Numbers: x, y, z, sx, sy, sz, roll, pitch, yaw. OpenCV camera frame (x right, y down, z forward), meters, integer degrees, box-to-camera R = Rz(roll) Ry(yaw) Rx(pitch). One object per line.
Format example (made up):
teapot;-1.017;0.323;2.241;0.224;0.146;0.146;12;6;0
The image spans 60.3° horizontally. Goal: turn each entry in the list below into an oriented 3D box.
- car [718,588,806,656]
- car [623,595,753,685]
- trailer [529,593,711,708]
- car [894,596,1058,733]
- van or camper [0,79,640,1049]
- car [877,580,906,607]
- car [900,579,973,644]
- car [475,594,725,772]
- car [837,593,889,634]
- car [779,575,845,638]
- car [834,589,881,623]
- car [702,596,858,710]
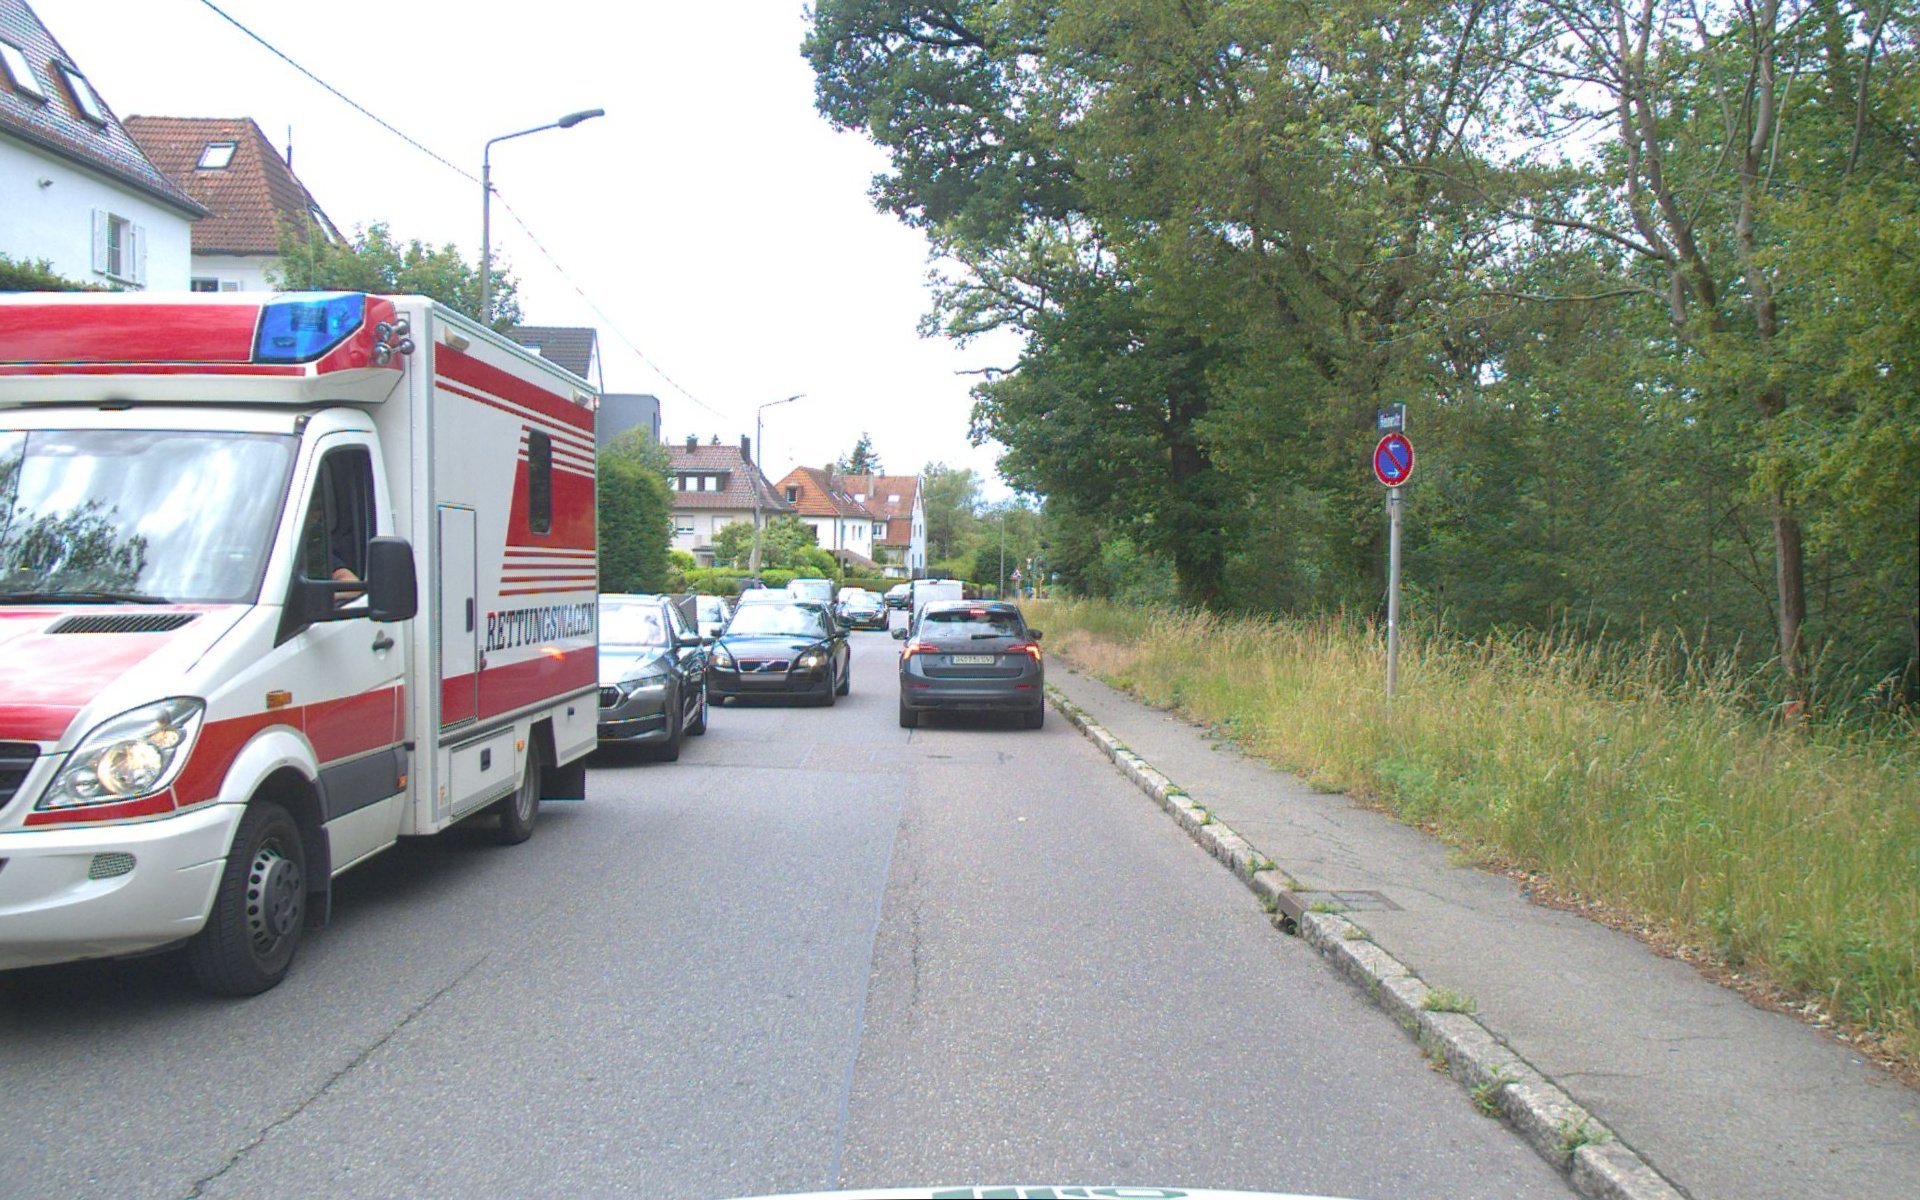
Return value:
car;-5.146;0.549;43.441;1.801;1.677;4.185;-1;0;0
car;-4.969;0.683;30.779;1.728;1.525;4.472;-1;0;-1
trailer;-4.816;0.659;24.048;1.727;1.522;4.473;0;0;0
car;0.093;0.716;20.605;1.694;1.464;4.320;2;0;-4
van or camper;-3.570;-0.130;8.601;2.406;2.945;7.168;0;0;0
car;-4.441;-0.467;107.790;1.796;1.624;4.323;2;1;-2
car;-0.797;0.332;52.997;2.031;1.956;4.918;2;0;-4
car;-3.308;0.683;16.009;1.728;1.471;4.470;0;0;-4
car;-3.723;0.500;64.275;1.825;1.439;4.591;2;0;-2
car;-4.898;0.195;55.398;1.825;1.960;5.036;2;0;-2
car;-4.959;0.266;80.273;1.746;1.526;4.017;2;0;4
car;-2.483;0.683;23.789;1.727;1.471;4.473;0;0;0
